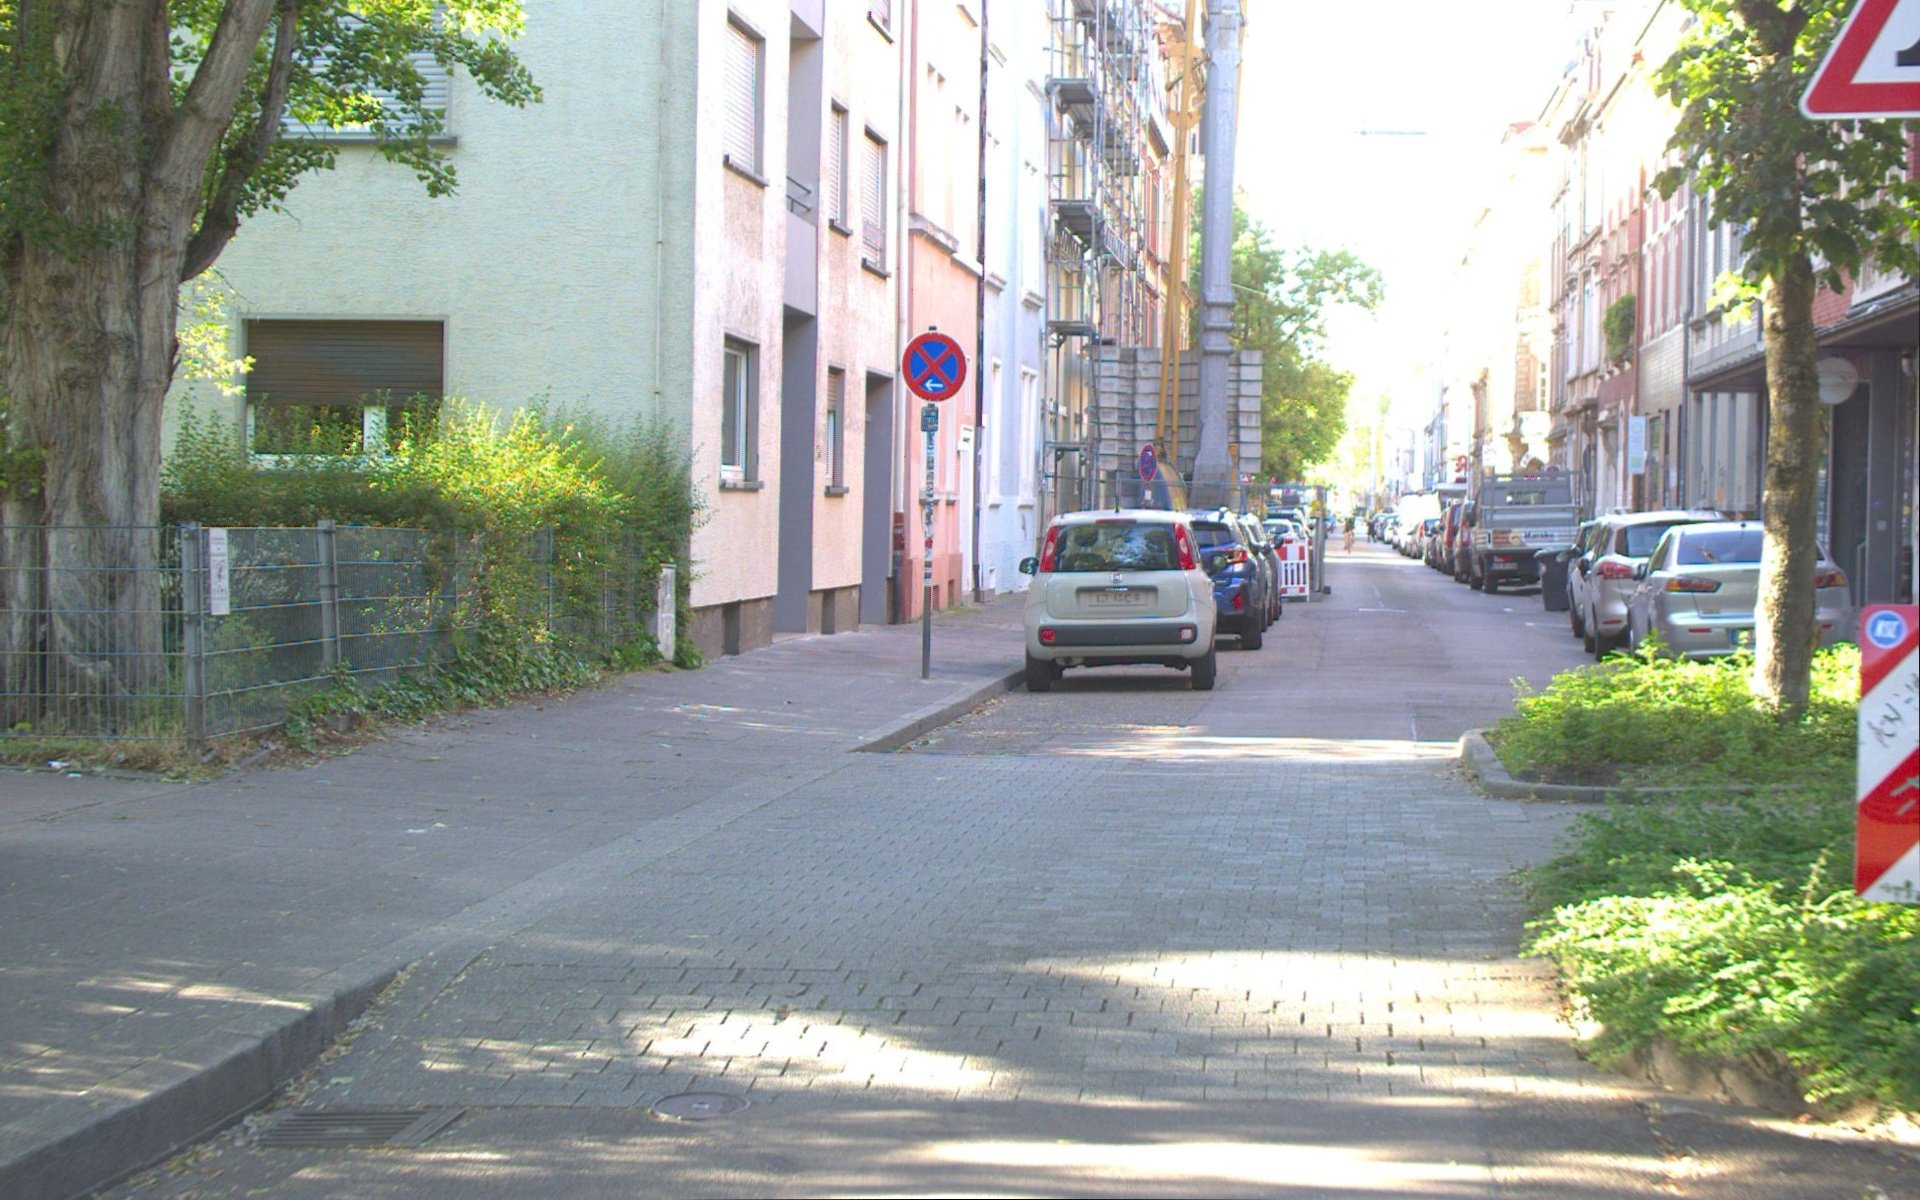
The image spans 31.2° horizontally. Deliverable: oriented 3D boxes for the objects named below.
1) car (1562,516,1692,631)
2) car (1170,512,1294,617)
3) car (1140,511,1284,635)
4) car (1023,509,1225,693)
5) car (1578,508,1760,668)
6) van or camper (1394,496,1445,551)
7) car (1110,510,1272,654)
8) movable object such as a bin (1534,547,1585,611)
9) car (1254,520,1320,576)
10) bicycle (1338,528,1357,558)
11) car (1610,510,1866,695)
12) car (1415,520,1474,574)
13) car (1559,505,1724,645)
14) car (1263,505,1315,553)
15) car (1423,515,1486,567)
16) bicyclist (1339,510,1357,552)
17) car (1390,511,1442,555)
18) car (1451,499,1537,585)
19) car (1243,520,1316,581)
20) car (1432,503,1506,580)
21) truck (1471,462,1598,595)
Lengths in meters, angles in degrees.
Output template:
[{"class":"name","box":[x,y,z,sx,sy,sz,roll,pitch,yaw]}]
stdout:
[{"class":"car","box":[9.383,-0.405,48.562,1.597,1.555,3.812,0,1,8]},{"class":"car","box":[4.043,-0.541,50.559,1.675,1.472,4.607,0,1,6]},{"class":"car","box":[3.280,-0.369,44.201,1.675,1.506,4.414,0,1,6]},{"class":"car","box":[1.507,-0.025,30.576,1.675,1.534,3.869,0,1,4]},{"class":"car","box":[7.747,-0.162,37.810,1.640,1.650,3.868,1,1,7]},{"class":"van or camper","box":[21.292,-3.528,159.437,1.994,2.500,4.202,0,1,2]},{"class":"car","box":[2.651,-0.231,39.326,1.729,1.534,4.377,-1,1,4]},{"class":"movable object such as a bin","box":[10.160,-0.359,58.306,0.795,1.052,0.660,1,1,7]},{"class":"car","box":[8.728,-1.402,91.931,1.675,1.440,3.869,0,1,4]},{"class":"bicycle","box":[16.383,-2.422,145.285,0.725,1.182,2.042,2,2,7]},{"class":"car","box":[7.093,-0.020,31.704,1.721,1.557,4.398,1,1,5]},{"class":"car","box":[18.444,-2.019,130.984,1.994,2.007,3.999,0,1,5]},{"class":"car","box":[8.536,-0.337,43.319,1.747,1.670,4.339,0,1,7]},{"class":"car","box":[13.021,-2.808,136.225,1.994,1.842,3.999,0,1,5]},{"class":"car","box":[15.316,-1.839,106.623,1.675,1.565,3.869,0,1,4]},{"class":"bicyclist","box":[16.415,-2.911,145.414,0.730,1.755,0.835,2,2,7]},{"class":"car","box":[19.289,-2.832,145.513,1.994,1.842,3.999,0,1,5]},{"class":"car","box":[12.545,-1.373,80.926,1.675,1.956,4.108,0,1,4]},{"class":"car","box":[7.714,-1.201,83.177,1.675,1.440,3.869,0,1,4]},{"class":"car","box":[13.800,-1.596,93.348,1.675,2.024,3.869,0,1,4]},{"class":"truck","box":[11.725,-1.465,70.444,2.190,2.598,5.233,0,1,5]}]
